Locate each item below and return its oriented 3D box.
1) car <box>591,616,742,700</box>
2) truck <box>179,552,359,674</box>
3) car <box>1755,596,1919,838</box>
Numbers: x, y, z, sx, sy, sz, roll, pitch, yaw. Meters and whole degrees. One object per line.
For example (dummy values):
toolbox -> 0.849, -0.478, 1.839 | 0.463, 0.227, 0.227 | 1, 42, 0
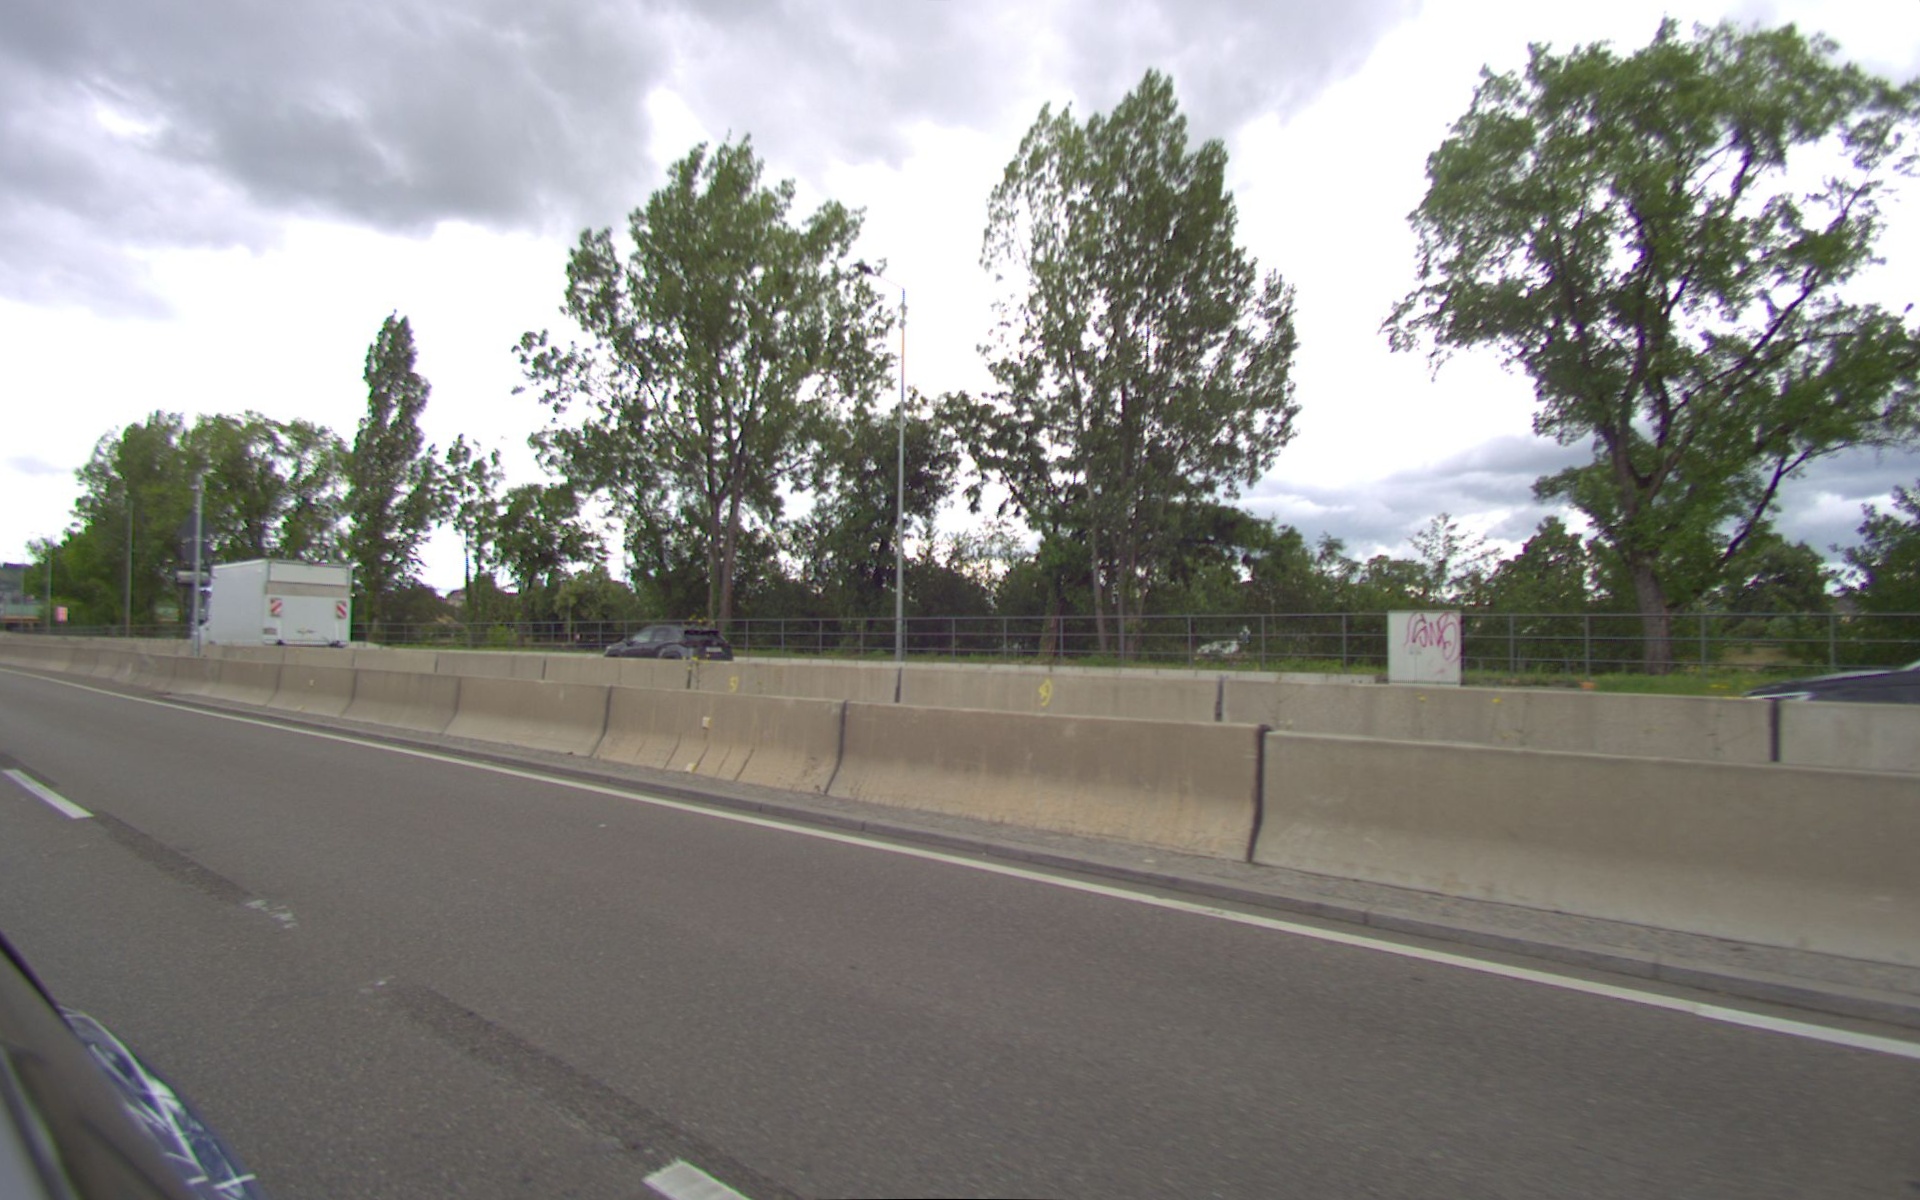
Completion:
car -> -7.872, 1.485, 27.036 | 3.997, 2.029, 1.973 | -2, 0, 40
truck -> -20.049, 0.403, 29.200 | 7.195, 3.130, 2.380 | -2, 0, 40
car -> 8.204, 0.770, 6.757 | 4.453, 1.630, 1.906 | -2, 0, 41
